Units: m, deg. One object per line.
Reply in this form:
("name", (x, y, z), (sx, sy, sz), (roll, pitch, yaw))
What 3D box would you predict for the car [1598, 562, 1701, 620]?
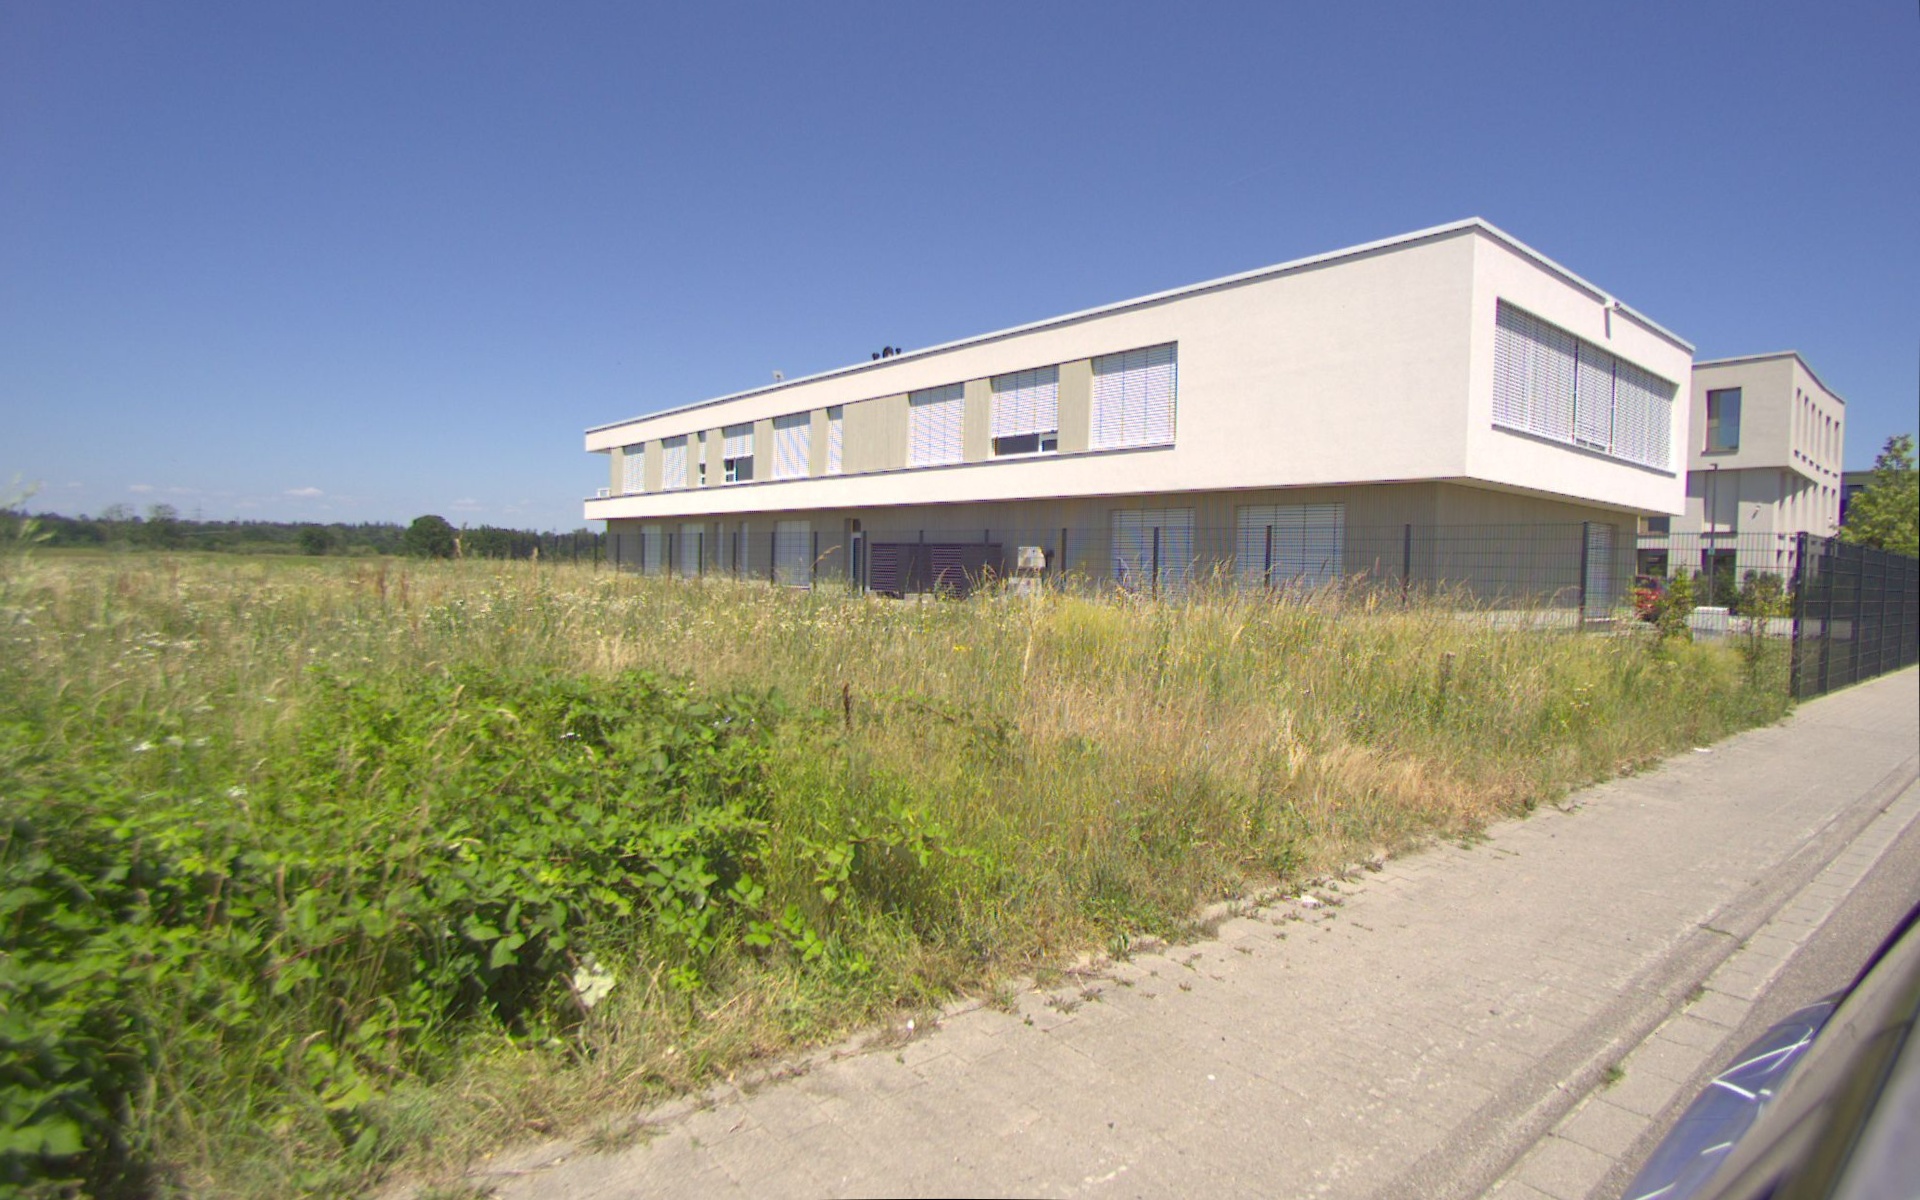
("car", (20.326, -0.251, 29.779), (4.010, 1.577, 1.670), (1, 1, -44))
